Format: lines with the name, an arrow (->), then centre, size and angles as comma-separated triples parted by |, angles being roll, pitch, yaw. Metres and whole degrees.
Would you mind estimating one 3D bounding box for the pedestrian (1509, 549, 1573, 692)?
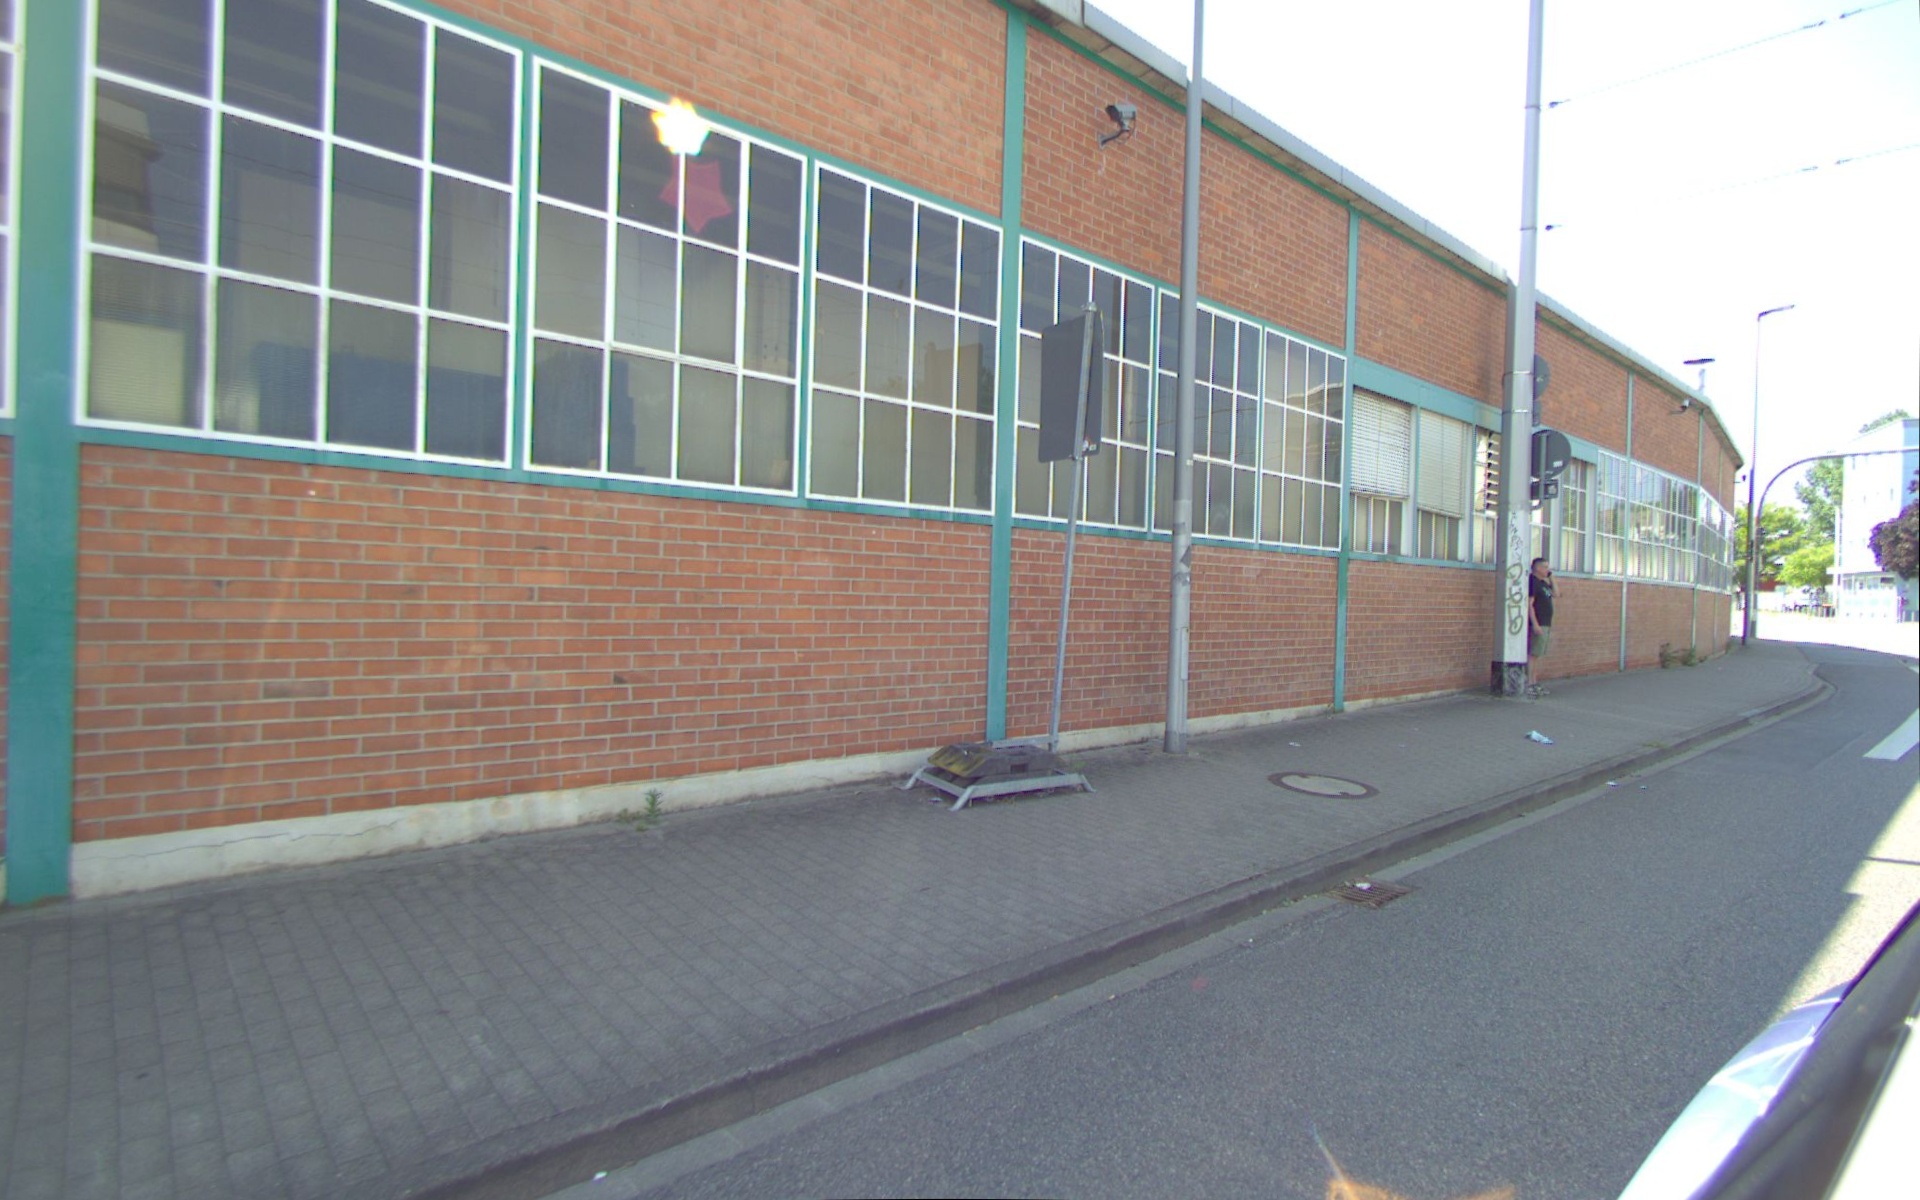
pedestrian -> 7.491, 0.267, 13.049 | 0.673, 1.787, 0.449 | 3, -2, -36
